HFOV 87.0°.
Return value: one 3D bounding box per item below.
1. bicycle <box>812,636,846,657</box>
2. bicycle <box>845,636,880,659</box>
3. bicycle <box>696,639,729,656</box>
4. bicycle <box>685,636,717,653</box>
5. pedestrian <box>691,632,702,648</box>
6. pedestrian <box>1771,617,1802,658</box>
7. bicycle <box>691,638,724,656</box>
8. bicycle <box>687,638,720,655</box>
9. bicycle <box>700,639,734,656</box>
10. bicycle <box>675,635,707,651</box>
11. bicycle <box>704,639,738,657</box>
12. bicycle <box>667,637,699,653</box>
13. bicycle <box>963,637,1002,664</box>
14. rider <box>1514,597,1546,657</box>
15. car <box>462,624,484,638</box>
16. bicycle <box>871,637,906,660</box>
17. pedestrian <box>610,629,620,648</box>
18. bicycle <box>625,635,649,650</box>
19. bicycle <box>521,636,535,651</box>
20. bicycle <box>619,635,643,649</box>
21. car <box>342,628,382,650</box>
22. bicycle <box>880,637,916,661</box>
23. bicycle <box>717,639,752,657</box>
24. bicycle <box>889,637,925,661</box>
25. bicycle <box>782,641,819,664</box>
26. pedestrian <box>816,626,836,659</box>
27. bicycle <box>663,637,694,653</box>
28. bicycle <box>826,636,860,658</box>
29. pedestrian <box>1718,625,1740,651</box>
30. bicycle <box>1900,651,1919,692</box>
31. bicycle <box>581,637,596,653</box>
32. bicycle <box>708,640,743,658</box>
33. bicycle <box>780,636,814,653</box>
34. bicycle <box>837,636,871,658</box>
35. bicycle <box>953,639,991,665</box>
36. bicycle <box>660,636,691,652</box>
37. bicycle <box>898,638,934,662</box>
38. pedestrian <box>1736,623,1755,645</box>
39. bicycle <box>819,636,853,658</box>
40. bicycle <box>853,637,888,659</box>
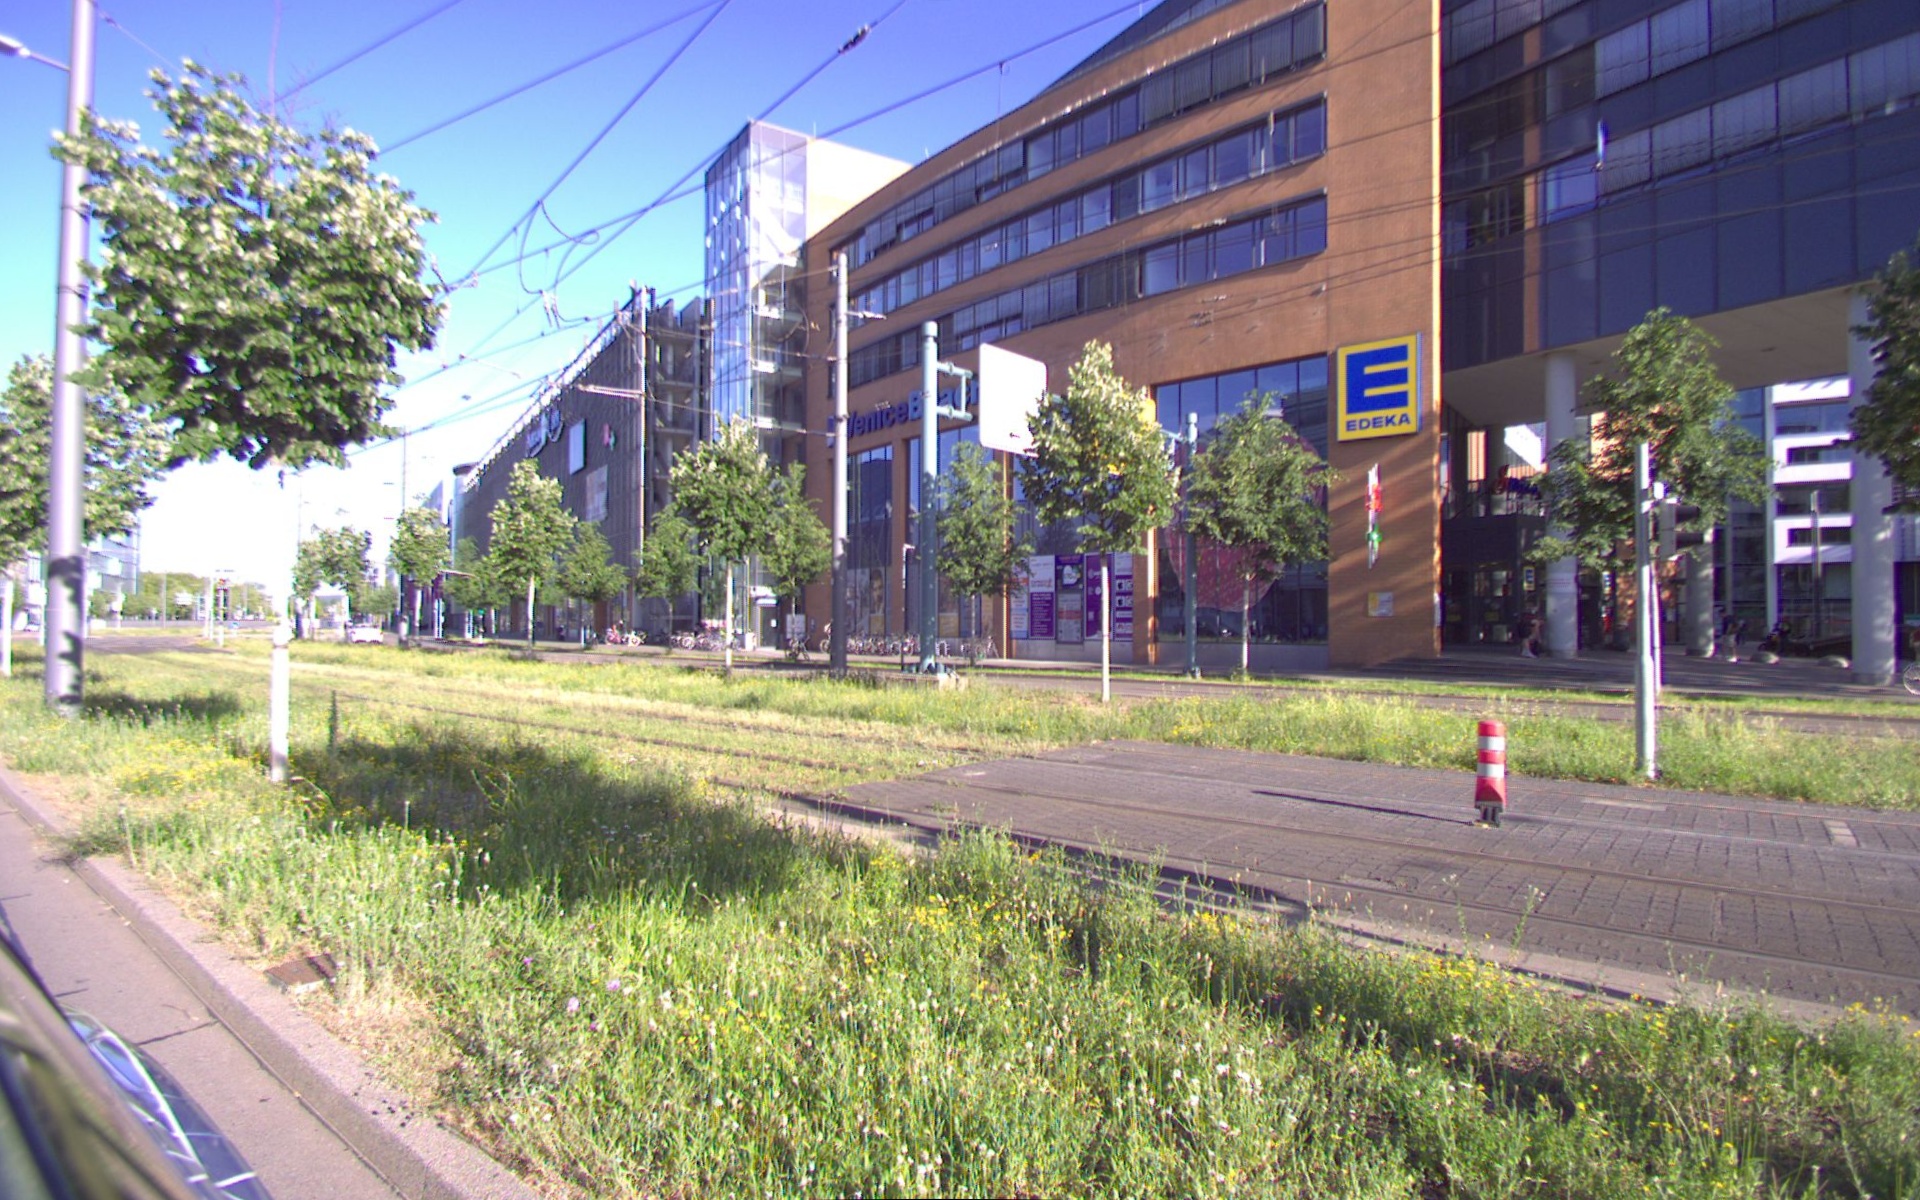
[{"bbox_3d":[-6.683,2.356,51.558,1.744,1.057,0.491,1,-2,-42],"label":"bicycle"},{"bbox_3d":[-4.774,2.320,49.491,1.744,1.057,0.491,1,-2,-42],"label":"bicycle"},{"bbox_3d":[-13.888,2.651,56.801,1.741,0.933,0.566,1,-2,-33],"label":"bicycle"},{"bbox_3d":[-14.981,2.576,58.583,1.741,0.933,0.492,1,-2,-33],"label":"bicycle"},{"bbox_3d":[-17.381,2.620,66.755,0.619,1.063,0.450,1,-2,-37],"label":"pedestrian"},{"bbox_3d":[35.572,1.614,43.548,0.778,1.720,0.810,0,-1,-32],"label":"pedestrian"},{"bbox_3d":[-14.323,2.660,57.372,1.741,0.933,0.566,1,-2,-33],"label":"bicycle"},{"bbox_3d":[-14.715,2.668,57.965,1.741,0.933,0.566,1,-2,-33],"label":"bicycle"},{"bbox_3d":[-13.491,2.643,56.233,1.741,0.933,0.566,1,-2,-33],"label":"bicycle"},{"bbox_3d":[-15.853,2.538,59.725,1.741,0.933,0.492,1,-2,-33],"label":"bicycle"},{"bbox_3d":[-13.128,2.635,55.571,1.741,0.933,0.566,1,-2,-33],"label":"bicycle"},{"bbox_3d":[-16.597,2.706,60.676,1.741,0.933,0.566,1,-2,-33],"label":"bicycle"},{"bbox_3d":[0.954,2.110,42.546,1.744,1.057,0.491,1,-2,-42],"label":"bicycle"},{"bbox_3d":[17.579,0.834,31.219,0.712,1.816,0.710,-1,-2,42],"label":"rider"},{"bbox_3d":[-56.480,3.614,117.439,1.559,1.541,3.759,0,0,-37],"label":"car"},{"bbox_3d":[-3.383,2.294,47.987,1.744,1.057,0.491,1,-2,-42],"label":"bicycle"},{"bbox_3d":[-23.474,2.611,68.893,0.442,1.299,0.631,1,-2,-37],"label":"pedestrian"},{"bbox_3d":[-20.865,2.744,65.424,1.377,0.933,0.463,1,-2,-33],"label":"bicycle"},{"bbox_3d":[-26.850,2.698,62.931,0.380,0.930,1.775,1,-2,-37],"label":"bicycle"},{"bbox_3d":[-21.660,2.760,66.647,1.377,0.933,0.463,1,-2,-33],"label":"bicycle"},{"bbox_3d":[-38.978,2.528,65.915,1.782,1.338,4.415,2,-2,-37],"label":"car"},{"bbox_3d":[-2.893,2.285,47.479,1.744,1.057,0.491,1,-2,-42],"label":"bicycle"},{"bbox_3d":[-12.043,2.552,53.994,1.741,0.933,0.566,1,-2,-33],"label":"bicycle"},{"bbox_3d":[-2.448,2.276,46.938,1.744,1.057,0.491,1,-2,-42],"label":"bicycle"},{"bbox_3d":[-6.490,2.125,41.035,1.770,0.875,0.458,-1,-2,41],"label":"bicycle"},{"bbox_3d":[-6.900,2.158,52.109,0.736,1.681,0.676,1,-2,-43],"label":"pedestrian"},{"bbox_3d":[-17.016,2.715,61.250,1.741,0.933,0.492,1,-2,-33],"label":"bicycle"},{"bbox_3d":[-5.848,2.340,50.619,1.744,1.057,0.491,1,-2,-42],"label":"bicycle"},{"bbox_3d":[43.931,2.163,57.787,1.038,1.491,0.660,-1,-1,-32],"label":"pedestrian"},{"bbox_3d":[22.523,1.628,22.873,1.868,0.917,0.498,0,-1,11],"label":"bicycle"},{"bbox_3d":[-22.148,2.669,60.334,0.380,0.875,1.775,1,-2,-37],"label":"bicycle"},{"bbox_3d":[-12.713,2.626,54.835,1.741,0.933,0.566,1,-2,-33],"label":"bicycle"},{"bbox_3d":[-8.891,2.420,55.215,1.741,0.933,0.566,1,-2,-33],"label":"bicycle"},{"bbox_3d":[-5.214,2.328,49.949,1.744,1.057,0.491,1,-2,-42],"label":"bicycle"},{"bbox_3d":[0.518,2.217,43.004,1.744,1.057,0.491,1,-2,-42],"label":"bicycle"},{"bbox_3d":[-17.357,2.688,61.729,1.741,0.933,0.492,1,-2,-33],"label":"bicycle"},{"bbox_3d":[-1.995,2.268,46.452,1.744,1.057,0.491,1,-2,-42],"label":"bicycle"},{"bbox_3d":[45.410,1.955,58.513,0.627,1.287,0.664,0,-1,-32],"label":"pedestrian"},{"bbox_3d":[-6.226,2.347,51.050,1.744,1.057,0.491,1,-2,-42],"label":"bicycle"},{"bbox_3d":[-4.312,2.311,48.917,1.744,1.057,0.491,1,-2,-42],"label":"bicycle"}]
